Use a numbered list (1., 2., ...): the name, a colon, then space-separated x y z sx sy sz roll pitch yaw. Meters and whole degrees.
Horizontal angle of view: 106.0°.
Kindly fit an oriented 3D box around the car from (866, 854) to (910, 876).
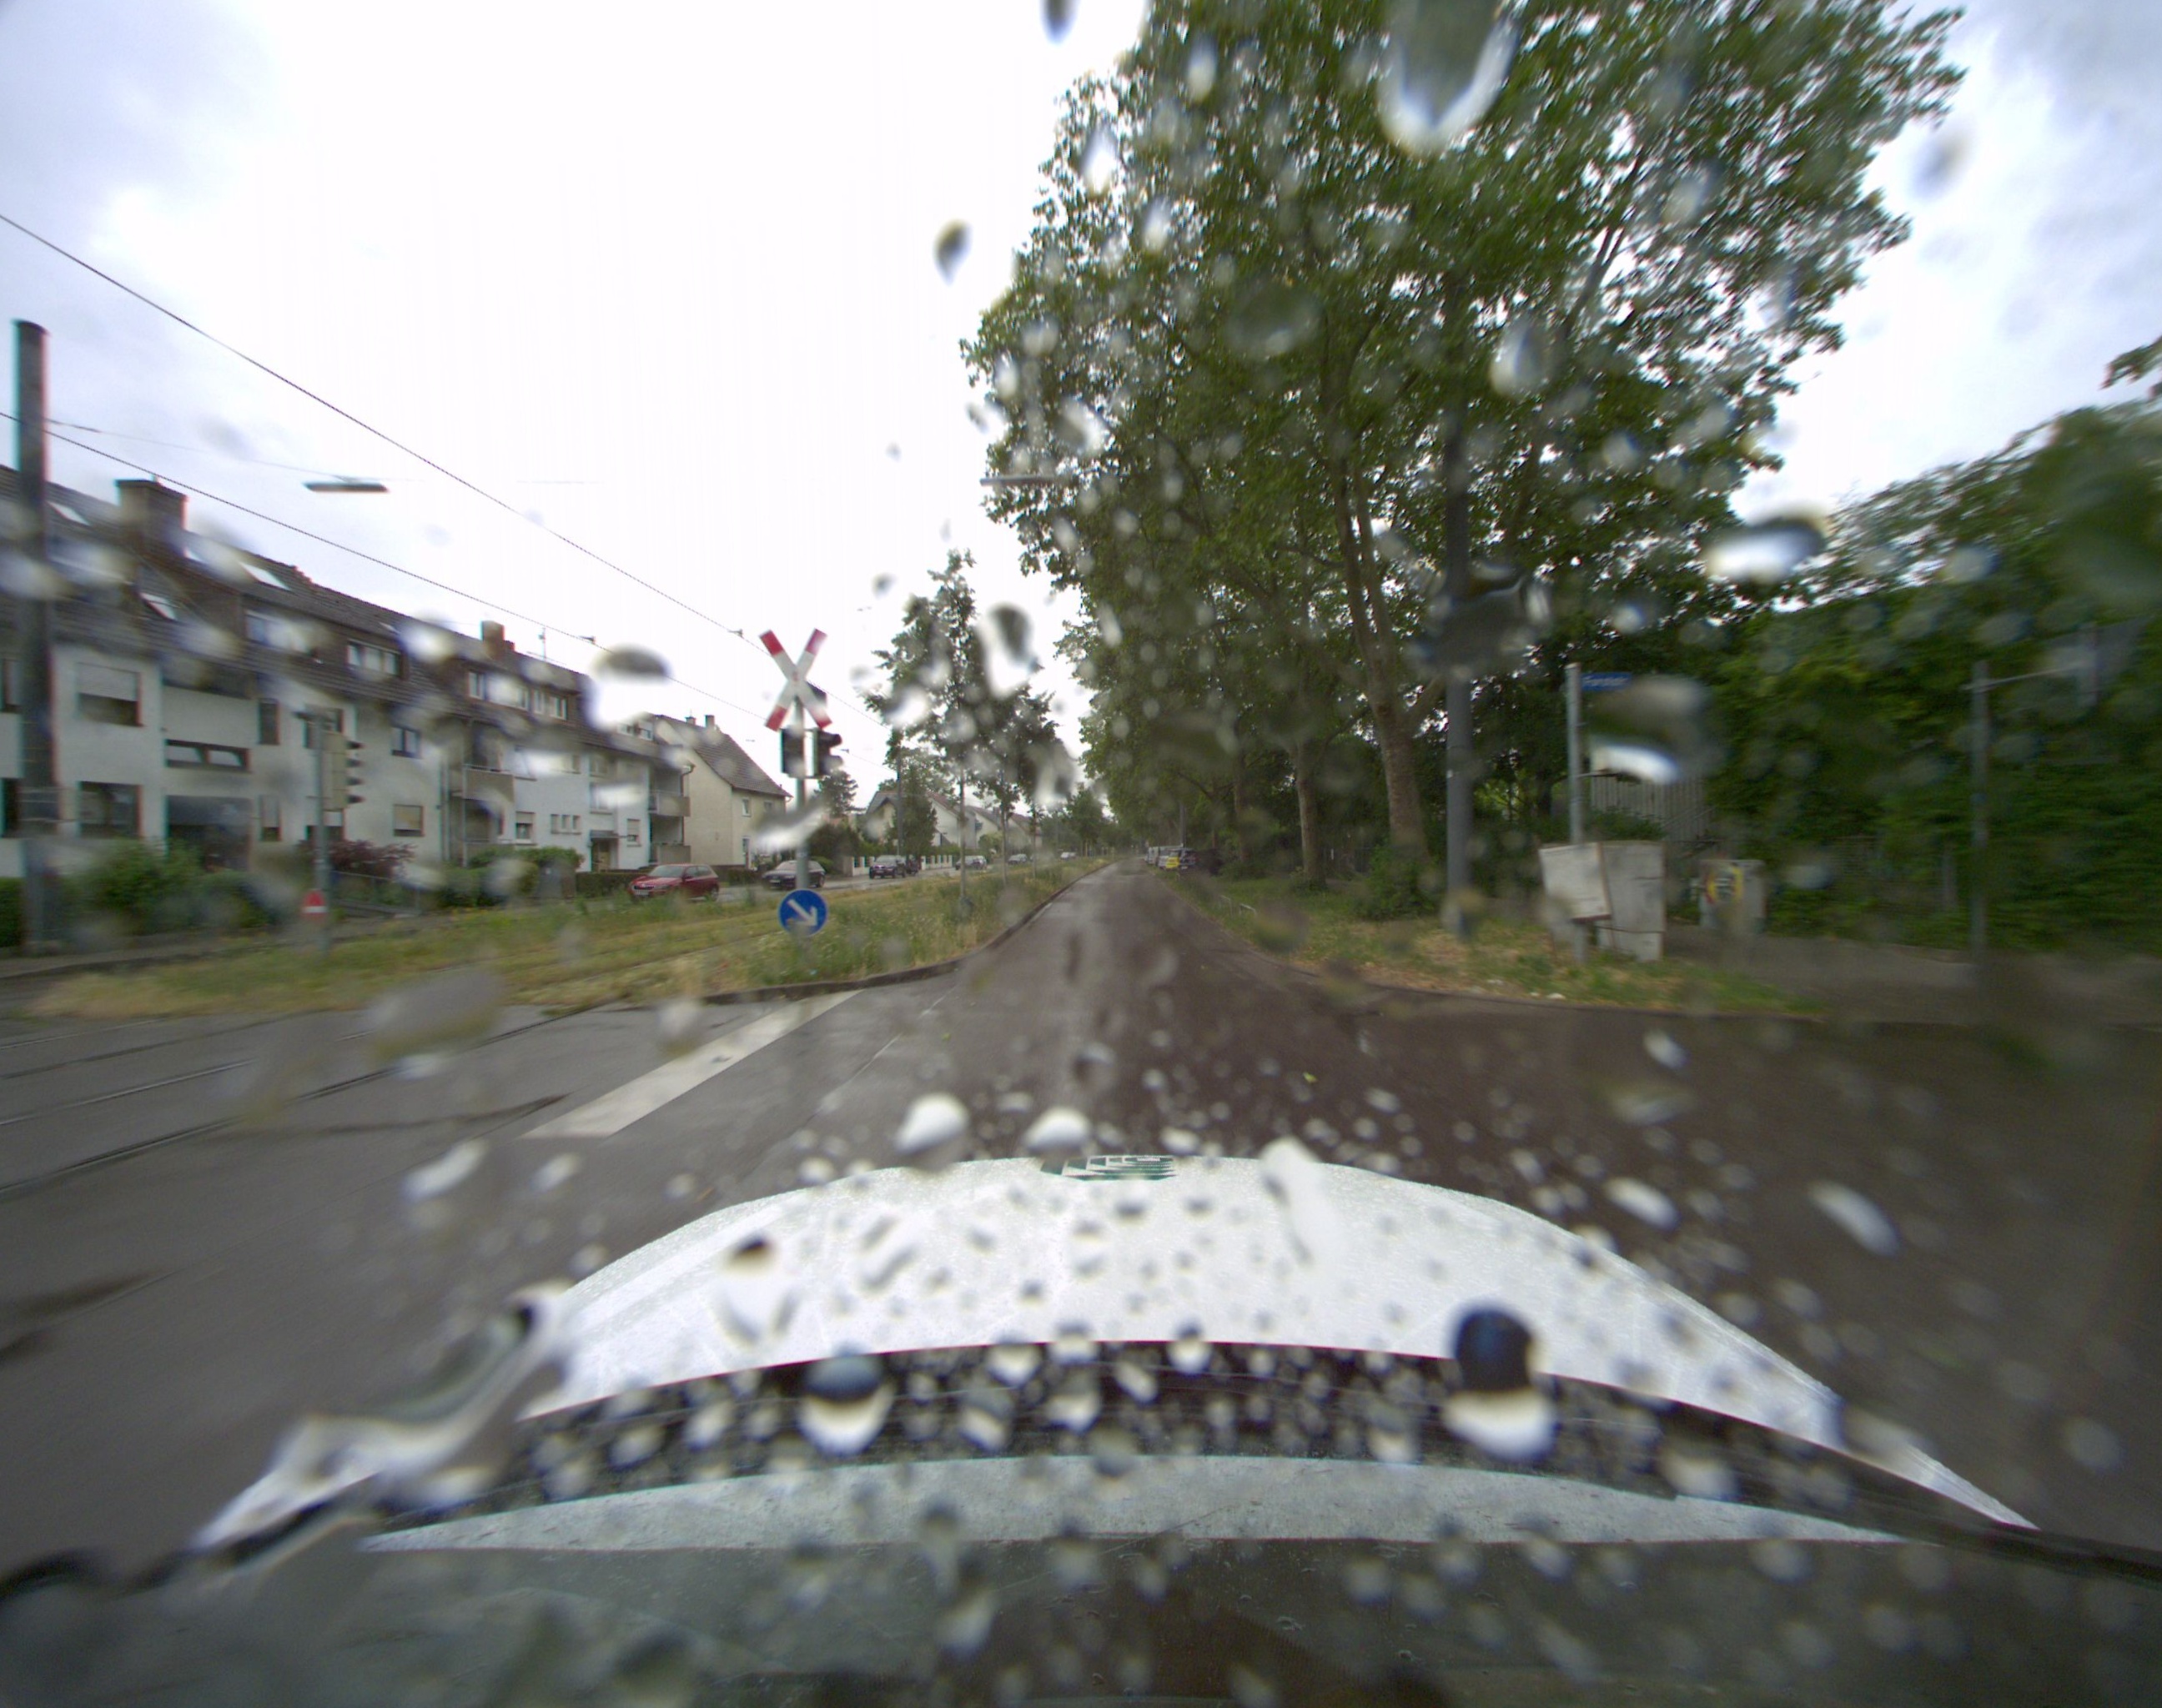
1. car: -13.686 0.777 57.948 1.920 1.486 4.004 0 0 4

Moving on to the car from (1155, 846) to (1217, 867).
1. car: 7.461 0.192 57.944 3.992 1.453 1.991 0 -1 -14

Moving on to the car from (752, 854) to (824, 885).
1. car: -14.700 0.755 41.090 1.920 1.486 4.004 0 0 4

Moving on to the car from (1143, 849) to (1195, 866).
1. car: 7.512 0.315 69.463 3.992 1.453 1.991 0 -1 -14

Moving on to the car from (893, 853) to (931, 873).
1. car: -13.383 0.716 64.612 1.920 1.486 4.004 0 0 4

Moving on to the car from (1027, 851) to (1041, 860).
1. car: -8.188 0.226 141.213 1.920 1.486 4.004 0 0 4

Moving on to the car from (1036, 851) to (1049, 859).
1. car: -7.187 0.206 153.307 1.920 1.486 4.004 0 0 4

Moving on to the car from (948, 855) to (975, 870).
1. car: -12.411 0.861 84.623 1.920 1.486 4.004 0 0 4

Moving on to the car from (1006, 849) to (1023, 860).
1. car: -9.733 0.104 119.023 1.920 1.486 4.004 0 0 4

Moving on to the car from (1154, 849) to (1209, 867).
1. car: 8.207 0.299 66.519 3.992 1.453 1.991 0 -1 -14

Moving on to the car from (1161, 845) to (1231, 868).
1. car: 7.320 0.147 52.142 3.992 1.453 1.991 0 -1 -14

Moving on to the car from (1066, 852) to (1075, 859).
1. car: -2.609 0.352 197.435 1.920 1.486 4.004 0 0 4

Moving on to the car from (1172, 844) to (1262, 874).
1. car: 6.779 0.258 40.650 3.992 1.453 1.991 0 -1 -14

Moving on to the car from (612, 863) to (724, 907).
1. car: -15.162 1.105 30.170 1.920 1.486 4.004 0 0 4

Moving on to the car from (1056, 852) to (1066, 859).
1. car: -4.499 0.393 183.344 1.920 1.486 4.004 0 0 4
